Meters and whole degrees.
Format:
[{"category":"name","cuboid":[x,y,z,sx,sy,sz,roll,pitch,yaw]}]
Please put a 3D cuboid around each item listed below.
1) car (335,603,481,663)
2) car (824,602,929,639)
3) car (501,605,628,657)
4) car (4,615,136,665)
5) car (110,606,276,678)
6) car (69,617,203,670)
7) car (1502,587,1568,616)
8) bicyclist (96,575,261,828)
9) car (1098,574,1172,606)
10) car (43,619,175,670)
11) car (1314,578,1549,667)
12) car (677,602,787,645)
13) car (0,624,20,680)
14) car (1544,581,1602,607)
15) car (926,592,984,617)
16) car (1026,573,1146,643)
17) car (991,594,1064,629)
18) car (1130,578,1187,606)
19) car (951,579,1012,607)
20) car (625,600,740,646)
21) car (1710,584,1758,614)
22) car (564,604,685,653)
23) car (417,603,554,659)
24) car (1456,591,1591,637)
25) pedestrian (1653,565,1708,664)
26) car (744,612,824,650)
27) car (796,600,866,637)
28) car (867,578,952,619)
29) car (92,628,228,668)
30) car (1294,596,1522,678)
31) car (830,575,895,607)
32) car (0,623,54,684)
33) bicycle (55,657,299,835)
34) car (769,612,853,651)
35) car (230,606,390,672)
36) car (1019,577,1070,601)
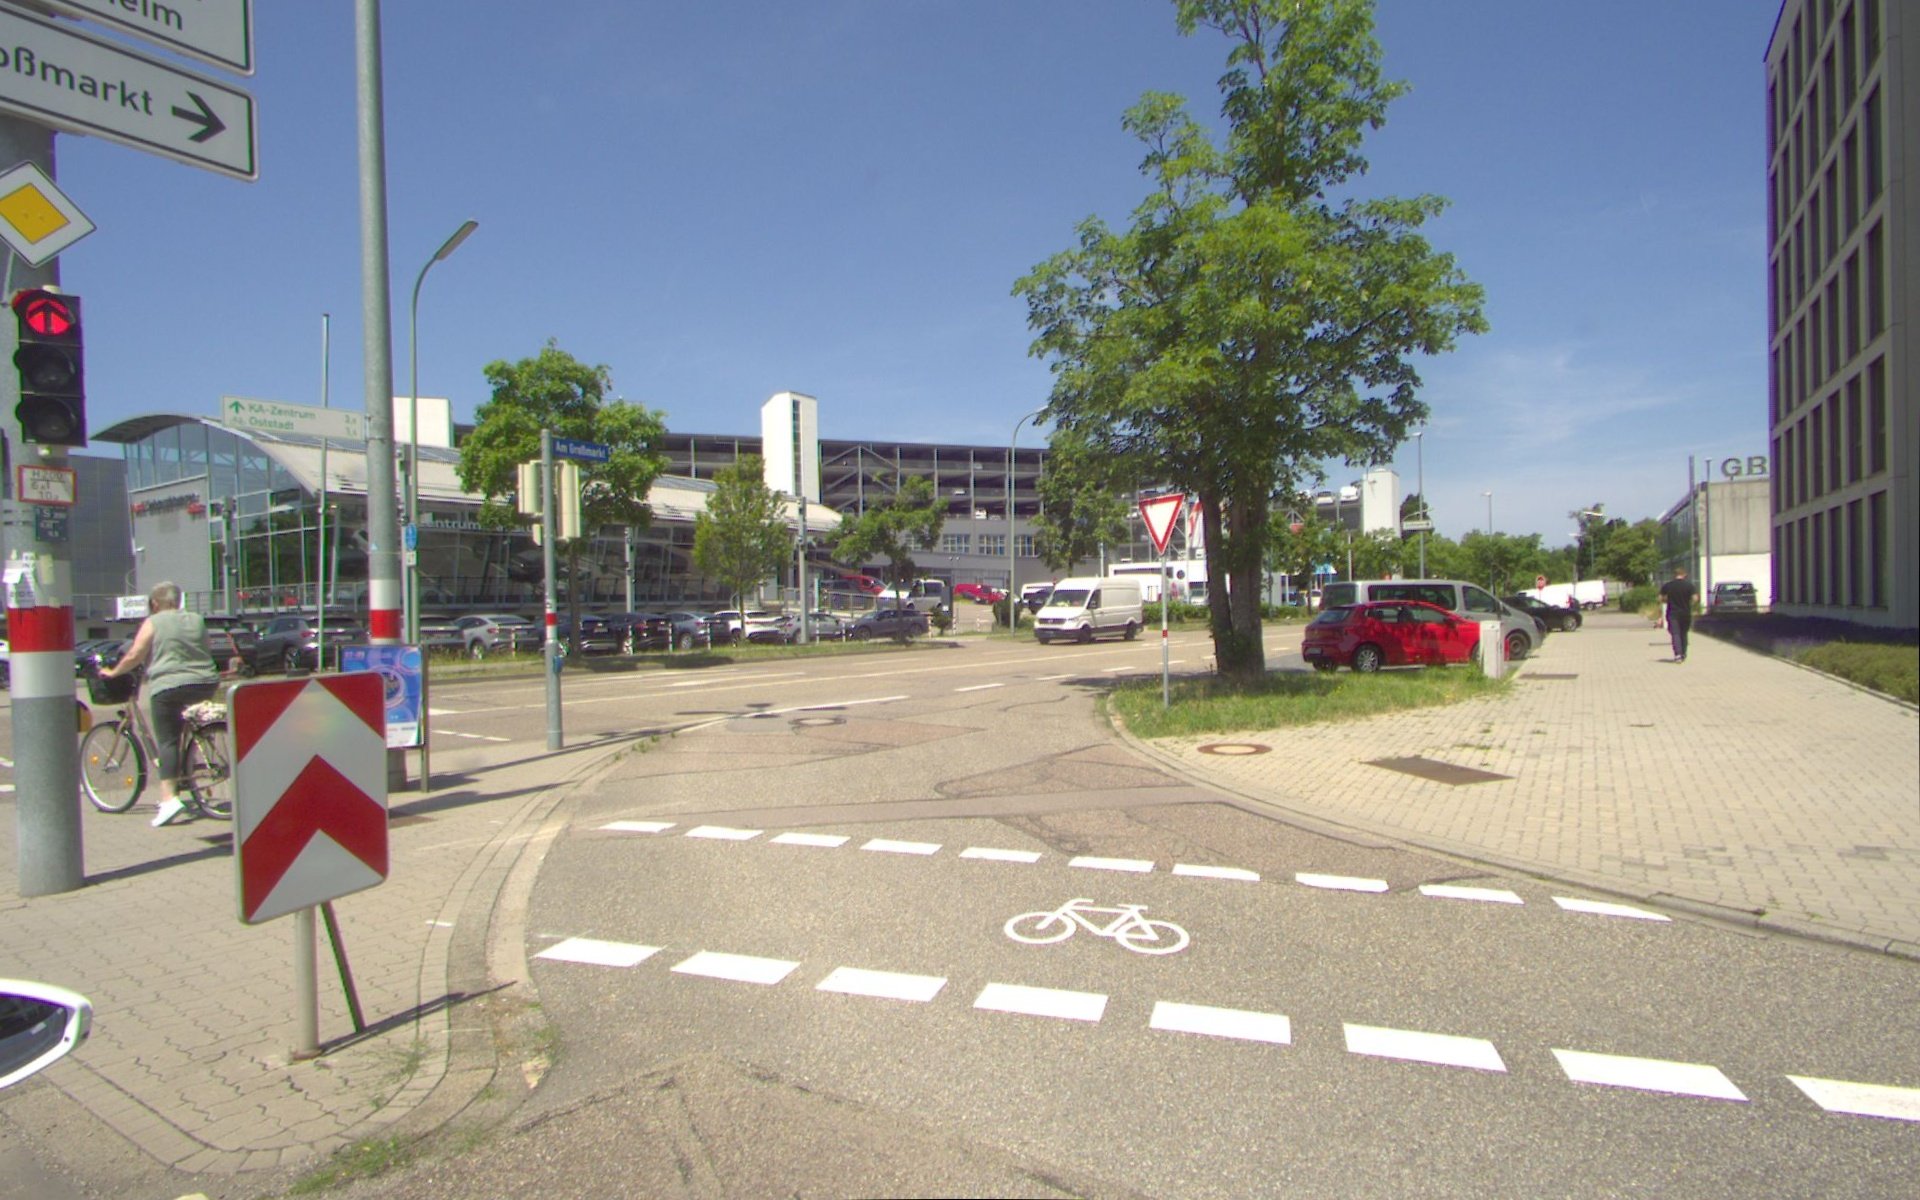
[{"category":"car","cuboid":[-16.616,0.960,30.099,4.377,1.661,1.989,-1,1,32]},{"category":"car","cuboid":[-3.945,0.940,47.654,4.702,1.662,1.821,-1,1,-35]},{"category":"car","cuboid":[-13.638,1.024,34.446,4.410,1.662,1.823,-1,1,32]},{"category":"car","cuboid":[-39.601,1.758,44.637,1.972,2.040,3.977,-1,0,33]},{"category":"car","cuboid":[-19.421,1.016,25.328,4.207,1.661,1.989,-1,0,32]},{"category":"car","cuboid":[-34.904,1.814,42.522,1.972,2.040,3.977,-1,0,33]},{"category":"car","cuboid":[41.667,0.133,72.540,3.949,2.040,1.986,-1,0,37]},{"category":"bicyclist","cuboid":[-5.839,0.720,7.498,0.742,1.772,0.733,0,0,28]},{"category":"car","cuboid":[12.042,-0.688,68.972,4.578,2.040,1.989,-1,0,32]},{"category":"car","cuboid":[-37.280,1.904,43.956,1.972,2.040,3.977,-1,0,33]},{"category":"car","cuboid":[10.908,0.490,23.258,4.814,1.839,1.704,-2,0,-10]},{"category":"car","cuboid":[-9.432,0.946,41.293,4.410,1.662,1.823,-1,1,32]},{"category":"car","cuboid":[-27.377,1.433,25.488,1.973,1.476,4.729,-2,-1,34]},{"category":"car","cuboid":[55.221,-0.525,90.197,4.304,2.149,2.080,-1,0,36]},{"category":"car","cuboid":[-0.382,0.338,74.417,3.943,1.810,1.730,-1,0,32]},{"category":"car","cuboid":[5.069,0.316,39.529,2.076,2.567,5.760,0,0,38]},{"category":"car","cuboid":[4.103,0.728,60.941,3.943,2.040,1.989,-1,0,32]},{"category":"car","cuboid":[15.465,-0.627,78.117,3.945,2.040,1.988,-1,0,34]},{"category":"car","cuboid":[1.679,-0.521,77.995,4.286,2.040,1.990,-1,0,30]},{"category":"car","cuboid":[-10.849,0.880,39.048,4.410,1.662,1.823,-1,1,32]},{"category":"car","cuboid":[42.114,-0.041,54.560,1.765,1.542,3.556,-2,0,33]},{"category":"car","cuboid":[-12.309,1.016,36.676,4.410,1.662,1.823,-1,1,32]},{"category":"car","cuboid":[-15.220,0.958,32.065,4.460,1.662,1.881,-1,1,32]},{"category":"car","cuboid":[21.645,0.547,38.597,4.075,1.558,1.815,-3,-1,2]},{"category":"pedestrian","cuboid":[14.099,0.288,19.592,0.764,1.869,0.861,-2,0,40]},{"category":"car","cuboid":[-9.038,1.561,51.501,3.712,1.795,1.761,-1,0,-28]},{"category":"car","cuboid":[-7.442,1.037,58.102,1.839,2.040,3.733,-1,0,41]},{"category":"car","cuboid":[-2.672,-0.076,53.878,1.972,2.040,5.117,-1,0,32]},{"category":"car","cuboid":[-32.929,1.925,41.325,1.694,1.480,4.083,0,0,33]},{"category":"car","cuboid":[8.949,0.703,20.132,3.924,1.454,1.609,-2,0,-8]},{"category":"car","cuboid":[-6.549,-0.604,67.272,3.937,2.040,1.992,-1,0,27]},{"category":"car","cuboid":[-25.191,1.350,24.085,1.973,1.476,4.729,0,0,34]},{"category":"bicycle","cuboid":[-5.949,1.034,7.591,1.891,1.142,0.786,0,0,29]},{"category":"car","cuboid":[-7.303,1.512,49.177,3.659,1.801,1.739,-1,0,-31]},{"category":"car","cuboid":[-17.926,1.026,27.555,4.492,1.661,1.989,-1,0,32]},{"category":"car","cuboid":[7.755,-0.977,92.191,4.257,2.040,1.989,-1,0,32]}]
